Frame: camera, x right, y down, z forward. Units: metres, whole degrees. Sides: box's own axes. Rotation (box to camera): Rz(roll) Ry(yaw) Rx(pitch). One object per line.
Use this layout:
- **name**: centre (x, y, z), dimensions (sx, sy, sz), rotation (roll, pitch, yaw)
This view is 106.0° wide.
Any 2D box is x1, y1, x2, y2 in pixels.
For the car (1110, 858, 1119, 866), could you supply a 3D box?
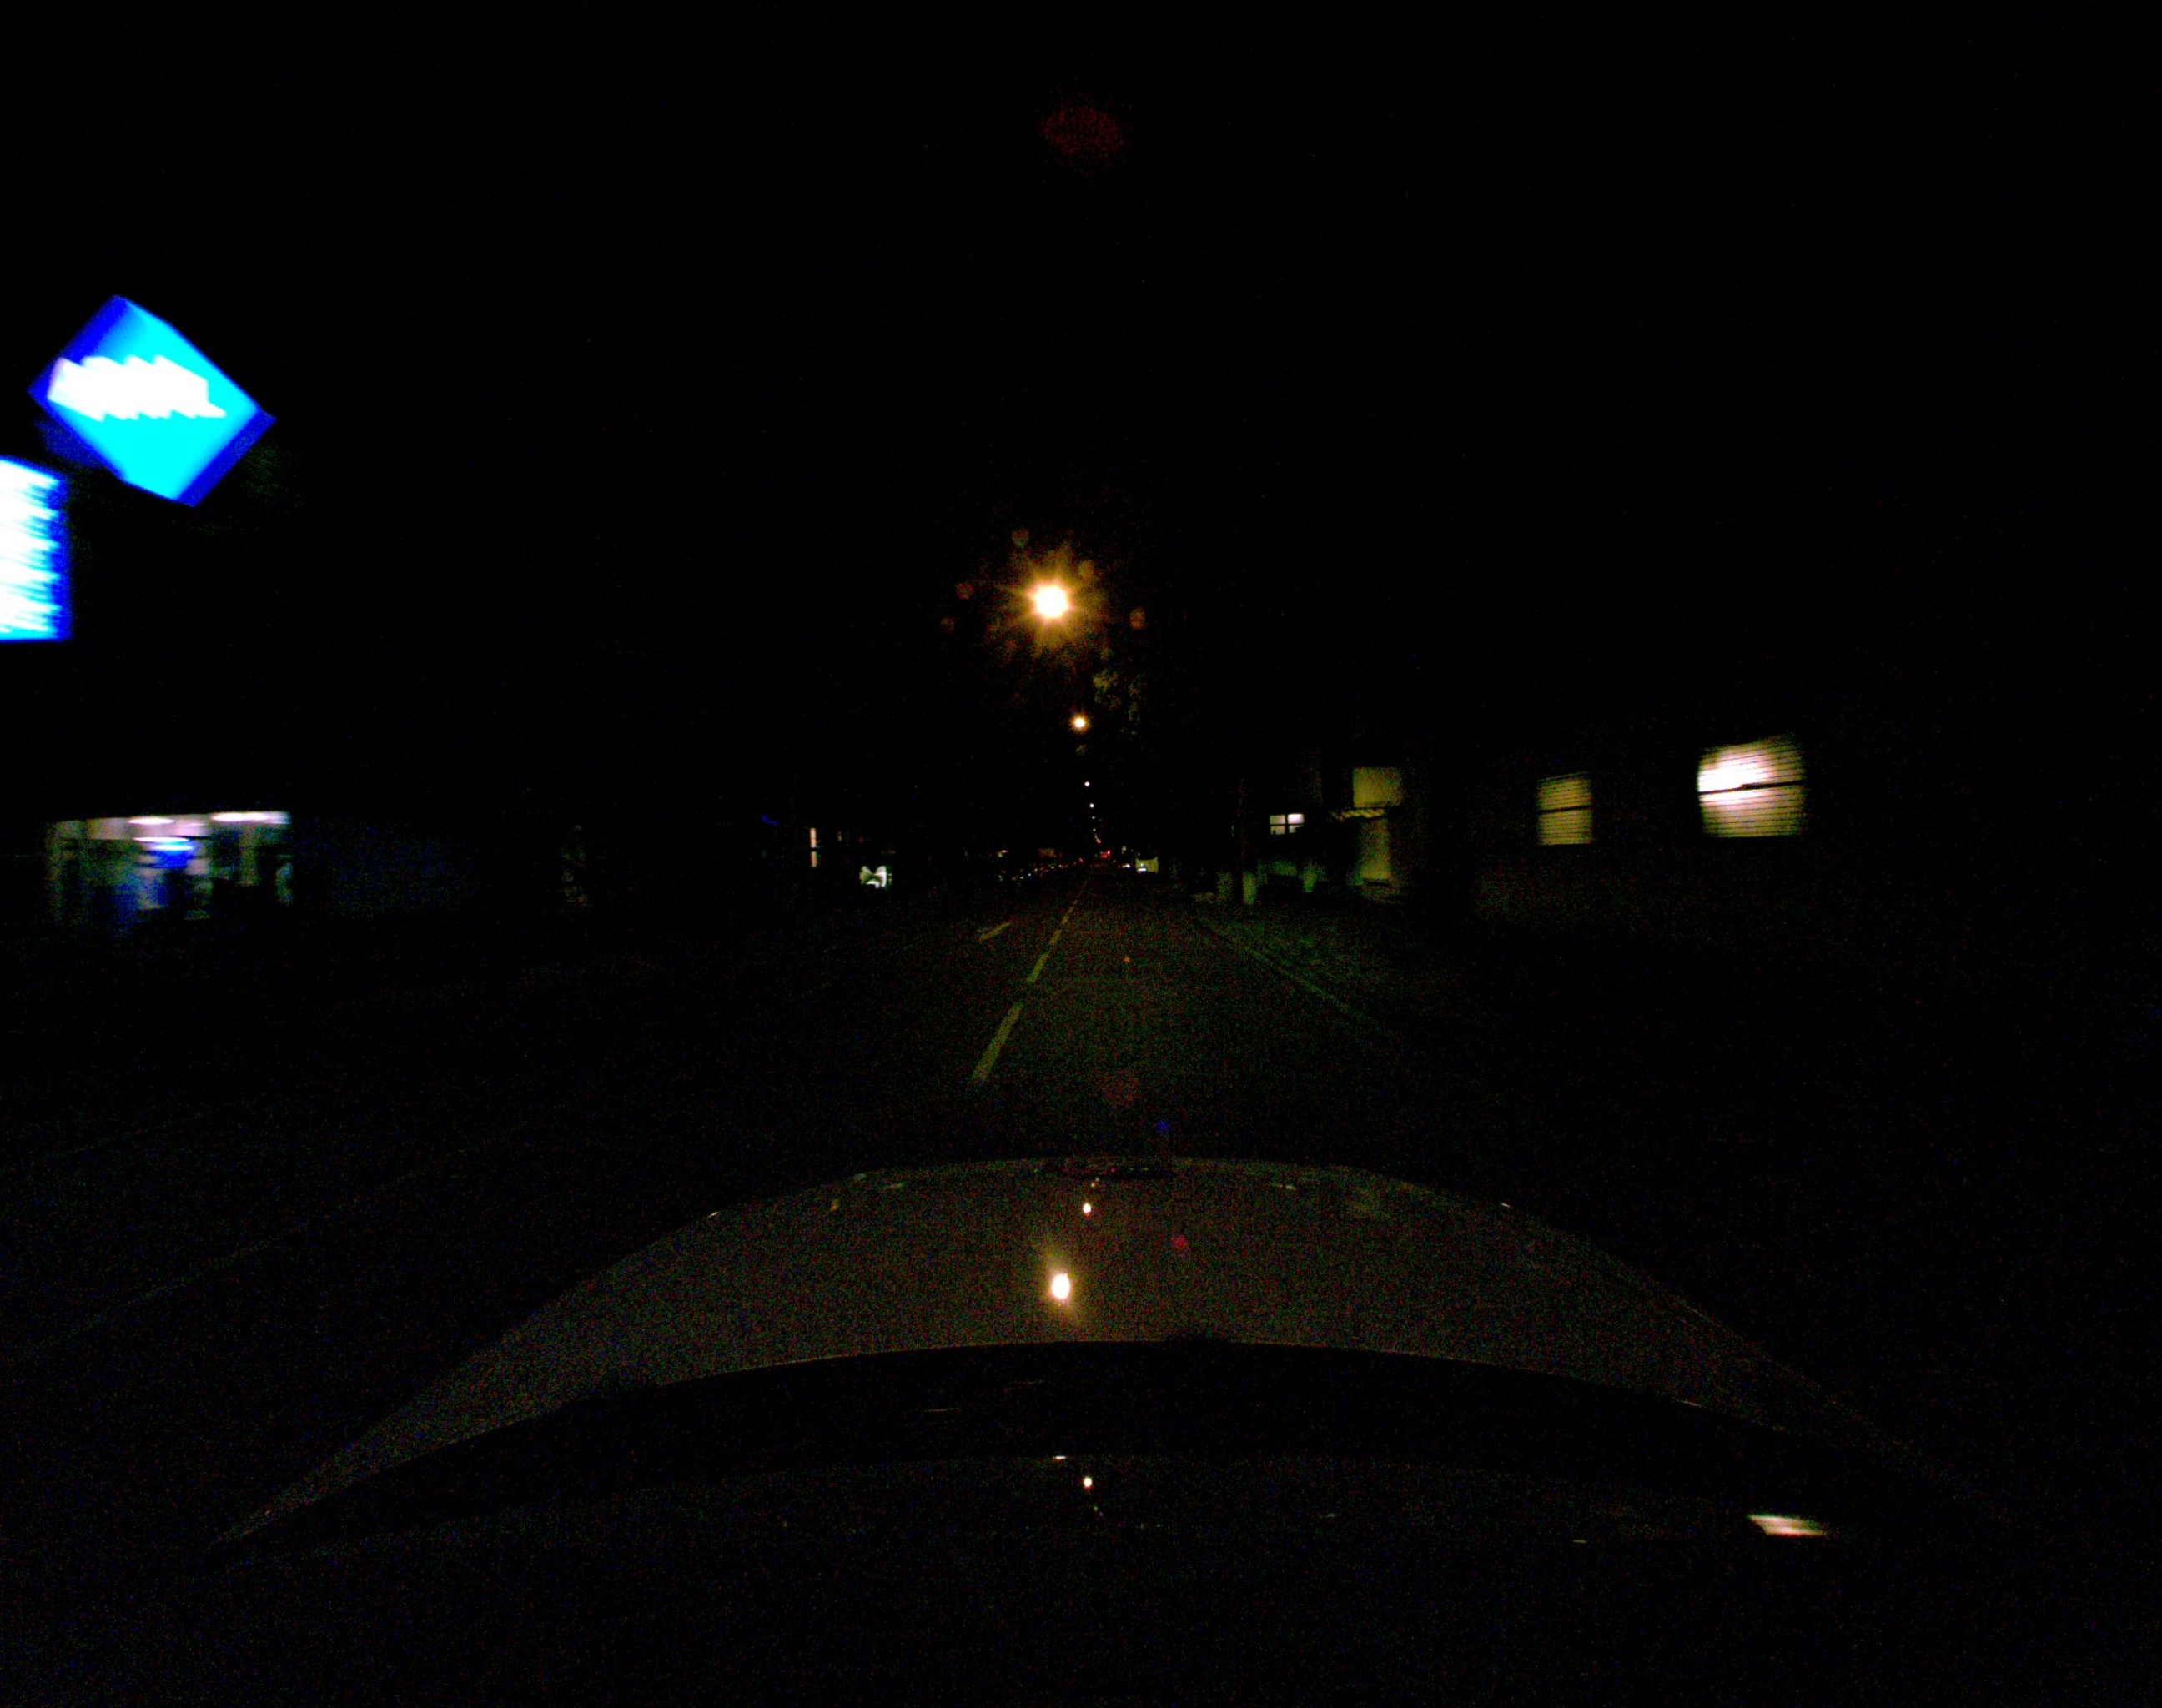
- **car**: centre (7.211, 1.740, 173.354), dimensions (1.846, 1.654, 4.211), rotation (-1, 0, 2)

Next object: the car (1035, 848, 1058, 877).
- **car**: centre (-3.634, 0.854, 86.518), dimensions (2.172, 2.909, 4.909), rotation (-2, 0, 0)

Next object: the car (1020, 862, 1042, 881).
- **car**: centre (-3.990, 1.389, 64.922), dimensions (1.440, 1.429, 3.903), rotation (-1, 0, 0)

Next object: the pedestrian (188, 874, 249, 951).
- **pedestrian**: centre (-18.723, 1.251, 17.691), dimensions (0.573, 1.606, 0.643), rotation (-3, -1, -1)

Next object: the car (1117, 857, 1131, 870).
- **car**: centre (5.421, 1.159, 102.617), dimensions (1.661, 1.429, 4.152), rotation (-6, 0, 3)

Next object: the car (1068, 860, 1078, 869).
- **car**: centre (-1.541, 2.080, 160.334), dimensions (1.815, 1.811, 4.213), rotation (0, 0, 2)

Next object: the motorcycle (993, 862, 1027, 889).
- **motorcycle**: centre (-4.306, 1.302, 49.229), dimensions (1.907, 1.550, 0.635), rotation (-2, -1, -19)

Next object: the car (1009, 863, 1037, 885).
- **car**: centre (-4.161, 1.433, 58.902), dimensions (1.637, 1.504, 3.903), rotation (-2, 0, 0)

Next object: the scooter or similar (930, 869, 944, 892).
- **scooter or similar**: centre (-7.715, 1.399, 43.709), dimensions (0.365, 1.204, 1.428), rotation (-4, -1, 1)

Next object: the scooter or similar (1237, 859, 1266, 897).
- **scooter or similar**: centre (5.734, 0.820, 27.428), dimensions (0.545, 1.203, 1.911), rotation (-4, -3, 1)

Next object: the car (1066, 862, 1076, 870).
- **car**: centre (-1.939, 2.284, 153.285), dimensions (1.693, 1.433, 3.831), rotation (0, 0, 2)

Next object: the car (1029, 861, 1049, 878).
- **car**: centre (-3.797, 1.395, 74.271), dimensions (1.640, 1.505, 3.860), rotation (-1, 0, 0)

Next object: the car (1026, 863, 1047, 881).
- **car**: centre (-3.760, 1.517, 69.592), dimensions (1.542, 1.455, 3.368), rotation (-2, 0, 0)

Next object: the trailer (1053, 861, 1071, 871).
- **trailer**: centre (-2.661, 1.651, 116.145), dimensions (2.102, 1.335, 5.438), rotation (-1, 0, 2)

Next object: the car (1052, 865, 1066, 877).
- **car**: centre (-2.881, 2.236, 108.207), dimensions (1.710, 1.502, 4.205), rotation (-1, 0, 0)

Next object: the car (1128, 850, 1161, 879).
- **car**: centre (4.672, 0.768, 60.400), dimensions (1.945, 1.964, 4.602), rotation (-3, 0, 0)

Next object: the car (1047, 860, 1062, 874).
- **car**: centre (-3.144, 1.506, 97.743), dimensions (1.737, 1.606, 4.296), rotation (-1, 0, -1)
